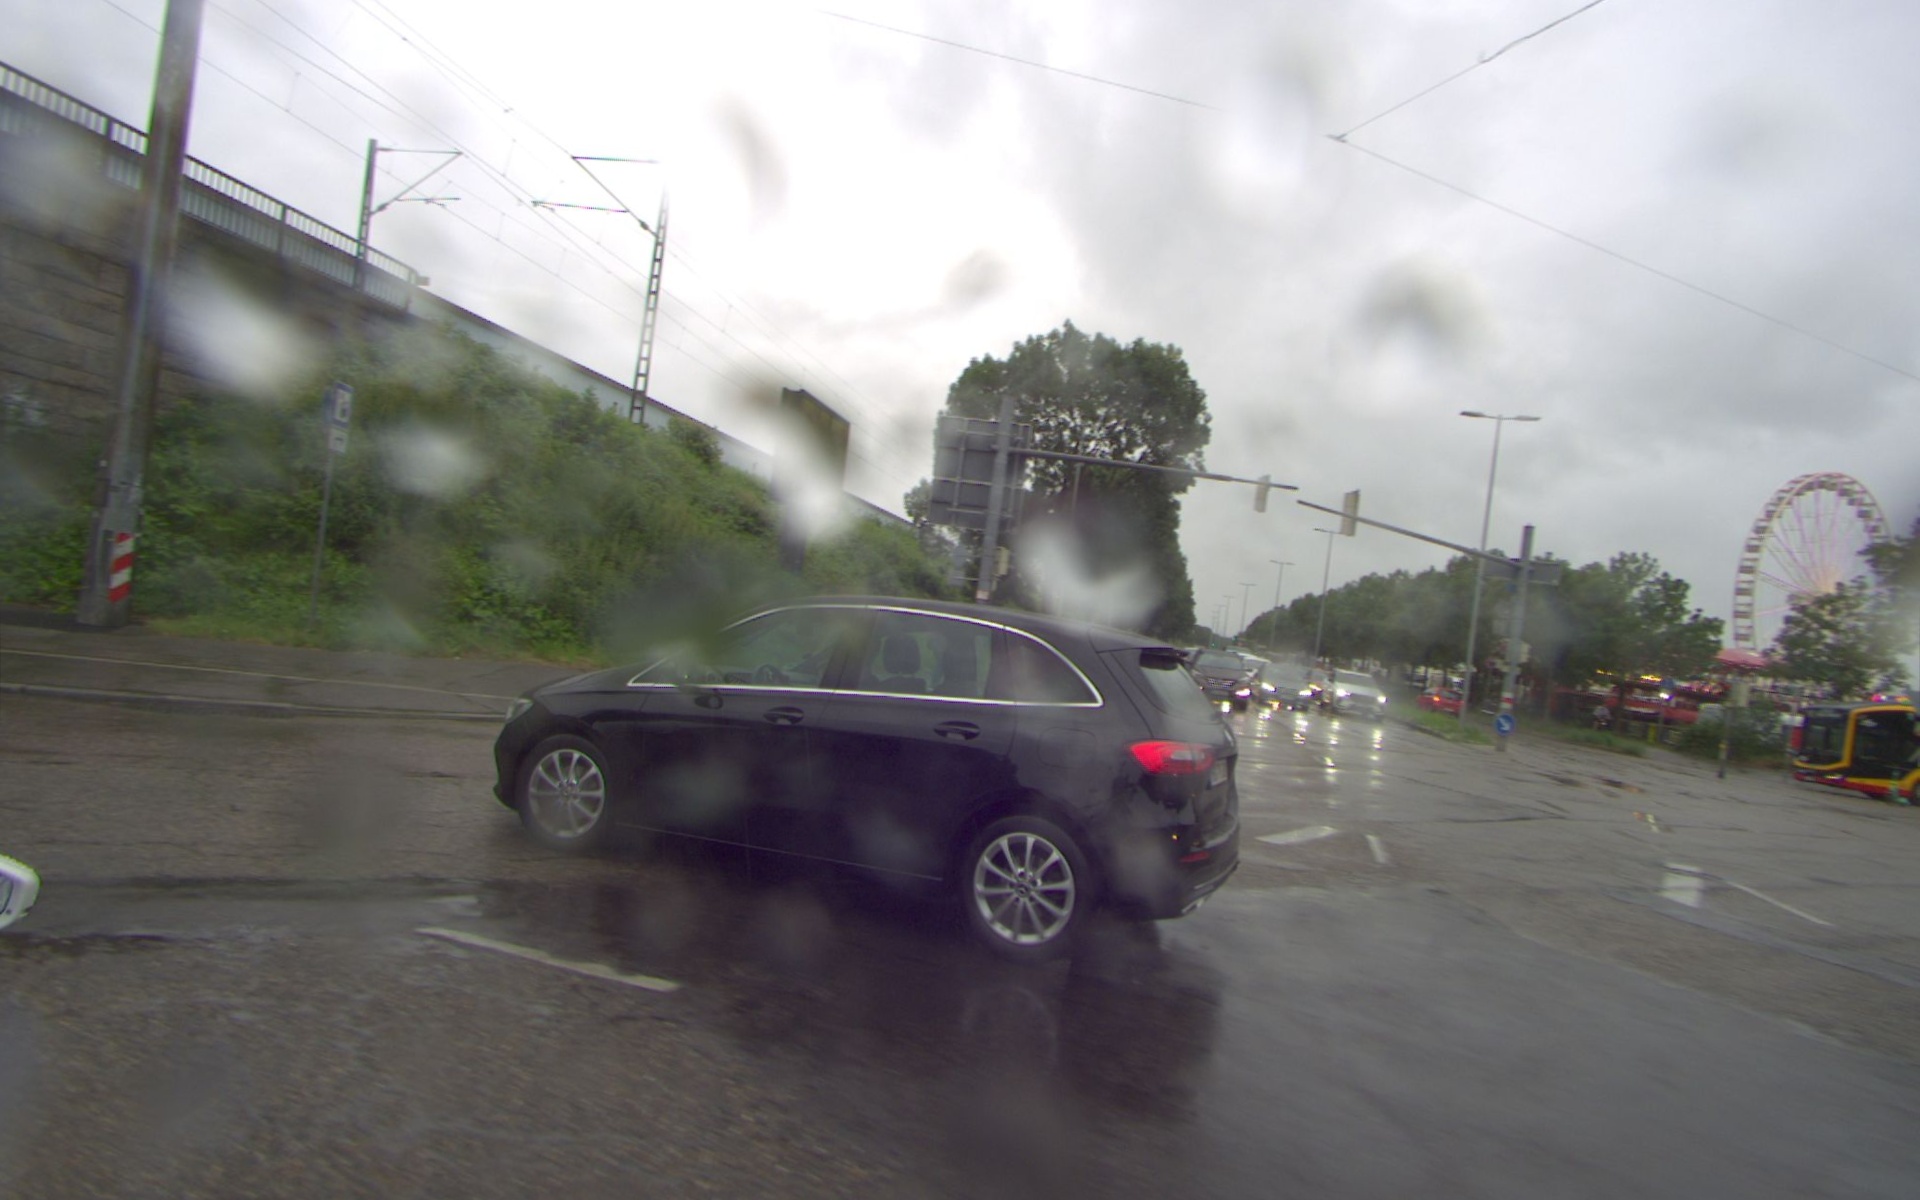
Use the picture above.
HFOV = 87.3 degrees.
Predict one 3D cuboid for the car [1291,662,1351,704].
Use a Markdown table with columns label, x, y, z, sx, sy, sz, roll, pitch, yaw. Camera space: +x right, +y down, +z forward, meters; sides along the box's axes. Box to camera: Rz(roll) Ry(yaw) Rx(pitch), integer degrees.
| label | x | y | z | sx | sy | sz | roll | pitch | yaw |
| --- | --- | --- | --- | --- | --- | --- | --- | --- | --- |
| car | 15.949 | 3.637 | 44.659 | 1.809 | 1.441 | 4.002 | 8 | 0 | 12 |

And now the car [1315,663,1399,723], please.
| label | x | y | z | sx | sy | sz | roll | pitch | yaw |
| --- | --- | --- | --- | --- | --- | --- | --- | --- | --- |
| car | 14.851 | 3.434 | 37.869 | 2.135 | 1.741 | 4.305 | 7 | 0 | 14 |

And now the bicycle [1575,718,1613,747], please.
| label | x | y | z | sx | sy | sz | roll | pitch | yaw |
| --- | --- | --- | --- | --- | --- | --- | --- | --- | --- |
| bicycle | 32.933 | 6.871 | 52.319 | 0.806 | 1.179 | 2.261 | 7 | 0 | 12 |

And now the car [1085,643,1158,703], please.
| label | x | y | z | sx | sy | sz | roll | pitch | yaw |
| --- | --- | --- | --- | --- | --- | --- | --- | --- | --- |
| car | 4.870 | 2.126 | 30.258 | 1.862 | 1.366 | 4.002 | 7 | 0 | 10 |

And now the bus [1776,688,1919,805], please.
| label | x | y | z | sx | sy | sz | roll | pitch | yaw |
| --- | --- | --- | --- | --- | --- | --- | --- | --- | --- |
| bus | 35.174 | 5.525 | 33.471 | 12.055 | 3.308 | 3.277 | 7 | 0 | 11 |

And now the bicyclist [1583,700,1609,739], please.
| label | x | y | z | sx | sy | sz | roll | pitch | yaw |
| --- | --- | --- | --- | --- | --- | --- | --- | --- | --- |
| bicyclist | 33.001 | 6.209 | 52.219 | 0.755 | 1.905 | 0.622 | 7 | 0 | 12 |

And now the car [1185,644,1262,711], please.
| label | x | y | z | sx | sy | sz | roll | pitch | yaw |
| --- | --- | --- | --- | --- | --- | --- | --- | --- | --- |
| car | 8.236 | 2.343 | 31.471 | 1.990 | 1.677 | 4.063 | 7 | 0 | 15 |

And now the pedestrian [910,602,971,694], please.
| label | x | y | z | sx | sy | sz | roll | pitch | yaw |
| --- | --- | --- | --- | --- | --- | --- | --- | --- | --- |
| pedestrian | -0.393 | 0.984 | 20.789 | 0.986 | 1.740 | 0.820 | 8 | 1 | 4 |

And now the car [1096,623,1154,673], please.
| label | x | y | z | sx | sy | sz | roll | pitch | yaw |
| --- | --- | --- | --- | --- | --- | --- | --- | --- | --- |
| car | 6.006 | 1.714 | 36.829 | 1.798 | 1.500 | 4.002 | 7 | 0 | 9 |

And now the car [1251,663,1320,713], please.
| label | x | y | z | sx | sy | sz | roll | pitch | yaw |
| --- | --- | --- | --- | --- | --- | --- | --- | --- | --- |
| car | 11.831 | 3.160 | 36.824 | 1.798 | 1.374 | 4.002 | 7 | 0 | 11 |

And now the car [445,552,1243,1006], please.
| label | x | y | z | sx | sy | sz | roll | pitch | yaw |
| --- | --- | --- | --- | --- | --- | --- | --- | --- | --- |
| car | -0.672 | 0.730 | 5.714 | 4.015 | 1.542 | 1.875 | 6 | -1 | 26 |

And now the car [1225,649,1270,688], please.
| label | x | y | z | sx | sy | sz | roll | pitch | yaw |
| --- | --- | --- | --- | --- | --- | --- | --- | --- | --- |
| car | 15.280 | 3.611 | 53.630 | 1.815 | 1.741 | 4.002 | 7 | 0 | 11 |

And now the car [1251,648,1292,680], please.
| label | x | y | z | sx | sy | sz | roll | pitch | yaw |
| --- | --- | --- | --- | --- | --- | --- | --- | --- | --- |
| car | 21.102 | 4.305 | 68.330 | 1.908 | 1.741 | 4.002 | 7 | 0 | 9 |

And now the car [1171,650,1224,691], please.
| label | x | y | z | sx | sy | sz | roll | pitch | yaw |
| --- | --- | --- | --- | --- | --- | --- | --- | --- | --- |
| car | 10.117 | 2.982 | 43.091 | 1.798 | 1.374 | 4.002 | 7 | 0 | 10 |

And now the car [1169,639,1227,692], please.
| label | x | y | z | sx | sy | sz | roll | pitch | yaw |
| --- | --- | --- | --- | --- | --- | --- | --- | --- | --- |
| car | 8.940 | 2.398 | 37.795 | 1.826 | 1.629 | 4.002 | 8 | 0 | 13 |

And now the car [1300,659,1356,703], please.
| label | x | y | z | sx | sy | sz | roll | pitch | yaw |
| --- | --- | --- | --- | --- | --- | --- | --- | --- | --- |
| car | 17.821 | 3.890 | 48.890 | 1.574 | 1.741 | 4.002 | 7 | 0 | 9 |

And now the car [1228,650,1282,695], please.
| label | x | y | z | sx | sy | sz | roll | pitch | yaw |
| --- | --- | --- | --- | --- | --- | --- | --- | --- | --- |
| car | 13.849 | 3.365 | 47.463 | 1.835 | 1.741 | 4.002 | 7 | 0 | 10 |

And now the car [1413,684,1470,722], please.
| label | x | y | z | sx | sy | sz | roll | pitch | yaw |
| --- | --- | --- | --- | --- | --- | --- | --- | --- | --- |
| car | 25.242 | 5.370 | 52.867 | 1.652 | 1.509 | 3.624 | 9 | 0 | 12 |
